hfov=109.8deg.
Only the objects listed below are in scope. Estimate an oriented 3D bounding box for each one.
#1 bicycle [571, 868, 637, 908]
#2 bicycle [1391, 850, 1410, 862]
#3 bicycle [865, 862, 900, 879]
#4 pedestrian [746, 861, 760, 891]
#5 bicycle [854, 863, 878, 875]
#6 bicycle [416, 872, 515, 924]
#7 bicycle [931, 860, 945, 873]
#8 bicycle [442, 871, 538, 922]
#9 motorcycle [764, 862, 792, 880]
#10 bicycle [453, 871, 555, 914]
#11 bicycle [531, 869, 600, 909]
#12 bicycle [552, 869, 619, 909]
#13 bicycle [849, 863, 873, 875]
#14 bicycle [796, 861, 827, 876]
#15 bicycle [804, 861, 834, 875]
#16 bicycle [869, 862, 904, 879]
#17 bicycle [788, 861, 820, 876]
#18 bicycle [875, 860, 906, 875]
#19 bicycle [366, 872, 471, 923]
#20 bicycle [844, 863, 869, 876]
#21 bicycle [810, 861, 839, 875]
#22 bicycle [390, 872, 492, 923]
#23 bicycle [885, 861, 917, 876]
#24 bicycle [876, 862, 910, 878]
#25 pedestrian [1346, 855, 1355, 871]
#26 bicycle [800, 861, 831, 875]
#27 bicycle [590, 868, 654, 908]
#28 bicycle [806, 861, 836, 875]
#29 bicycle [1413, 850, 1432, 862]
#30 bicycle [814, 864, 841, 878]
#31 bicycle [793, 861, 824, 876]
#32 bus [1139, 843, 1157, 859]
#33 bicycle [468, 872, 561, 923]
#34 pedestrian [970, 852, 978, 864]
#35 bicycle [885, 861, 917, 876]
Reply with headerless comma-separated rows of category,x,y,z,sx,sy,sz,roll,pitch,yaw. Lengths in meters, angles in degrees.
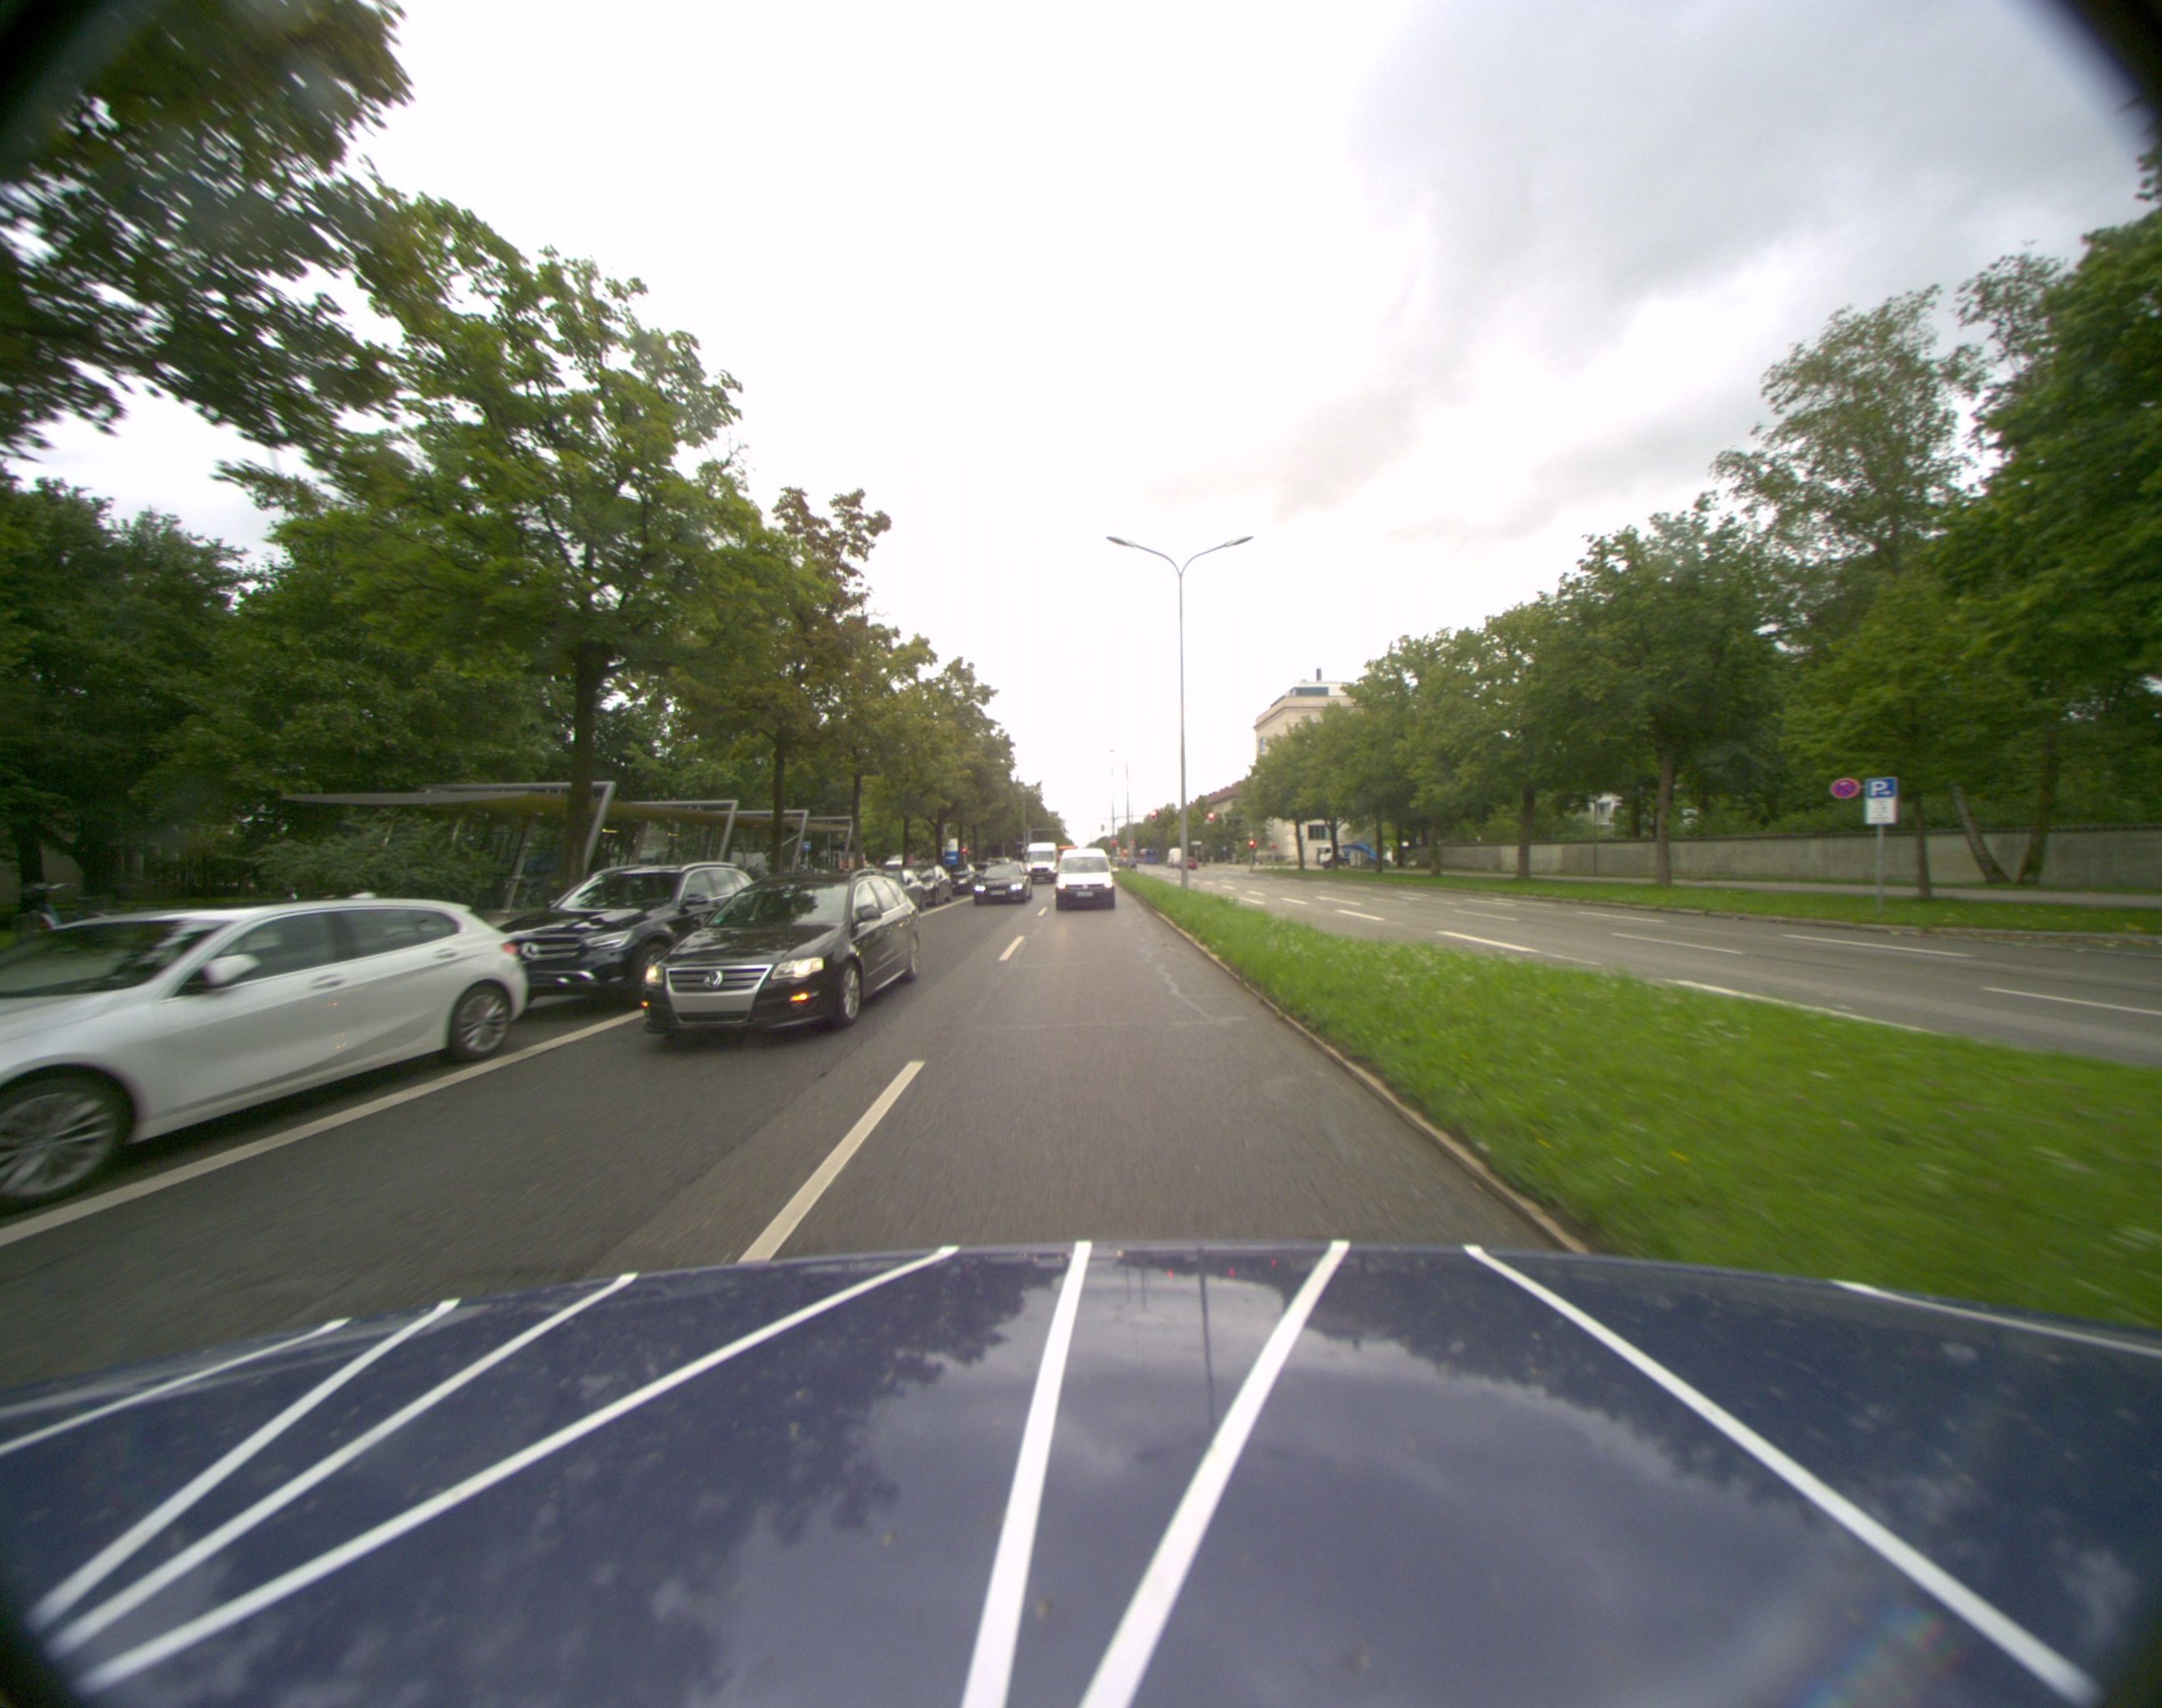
bicycle,-16.742,1.177,26.736,0.646,1.273,2.550,-1,0,1
bicycle,32.377,0.242,77.127,0.837,1.179,2.496,-1,0,-1
bicycle,-14.298,1.213,54.777,2.344,1.151,0.529,1,0,0
pedestrian,-16.849,1.107,39.033,0.580,1.504,0.693,-2,1,-18
bicycle,-20.417,1.419,72.103,0.716,1.147,2.133,-1,0,41
bicycle,-17.248,1.196,21.393,0.646,1.273,2.550,-1,0,1
bicycle,-13.508,1.147,71.781,0.863,1.191,2.000,1,0,5
bicycle,-16.571,1.168,21.407,0.646,1.273,2.550,-1,0,1
motorcycle,-21.296,1.192,53.420,0.657,1.170,1.817,-1,0,26
bicycle,-18.230,1.211,24.063,2.551,1.273,0.492,-1,1,-14
bicycle,-18.081,1.189,26.741,0.646,1.273,2.550,-1,0,1
bicycle,-17.395,1.201,26.770,0.646,1.273,2.550,-1,0,1
bicycle,-21.003,1.443,72.655,0.716,1.147,2.133,-1,0,41
bicycle,-22.323,1.197,62.864,2.344,1.151,0.529,1,0,0
bicycle,-22.133,1.188,64.138,2.344,1.151,0.529,1,0,0
bicycle,-14.278,1.211,55.800,2.344,1.151,0.529,1,0,0
bicycle,-22.245,1.195,61.082,2.344,1.151,0.529,1,0,0
bicycle,-15.252,1.115,60.898,2.344,1.151,0.585,1,0,0
bicycle,-18.591,1.193,21.417,0.646,1.273,2.550,-1,0,1
bicycle,-20.807,1.437,70.407,0.716,1.147,2.133,-1,0,41
bicycle,-22.037,1.183,65.321,2.344,1.151,0.529,1,0,0
bicycle,-17.922,1.173,21.388,0.646,1.273,2.550,-1,0,1
bicycle,-14.032,1.114,59.205,2.344,1.151,0.529,1,0,0
bicycle,-14.027,1.200,56.710,2.346,1.151,0.529,1,0,-8
pedestrian,28.193,0.930,79.360,0.709,1.730,0.517,-1,1,-4
bicycle,-22.195,1.191,63.553,2.344,1.151,0.529,1,0,0
bicycle,-16.071,1.151,26.687,0.646,1.273,2.550,-1,0,1
bicycle,-22.117,1.187,64.729,2.344,1.151,0.529,1,0,0
bicycle,34.550,0.211,76.880,0.837,1.179,2.496,-1,0,-1
bicycle,-22.272,1.498,66.783,2.133,1.147,0.716,-1,1,-42
bicycle,-22.257,1.195,62.139,2.344,1.151,0.529,1,0,0
bus,14.852,-0.704,168.693,2.752,3.324,12.047,0,0,-1
bicycle,-15.850,1.176,21.370,0.646,1.273,2.550,-1,0,1
pedestrian,-13.681,0.523,97.370,0.691,1.529,0.738,-1,1,20
bicycle,-14.144,1.154,59.757,2.344,1.151,0.529,1,0,0
